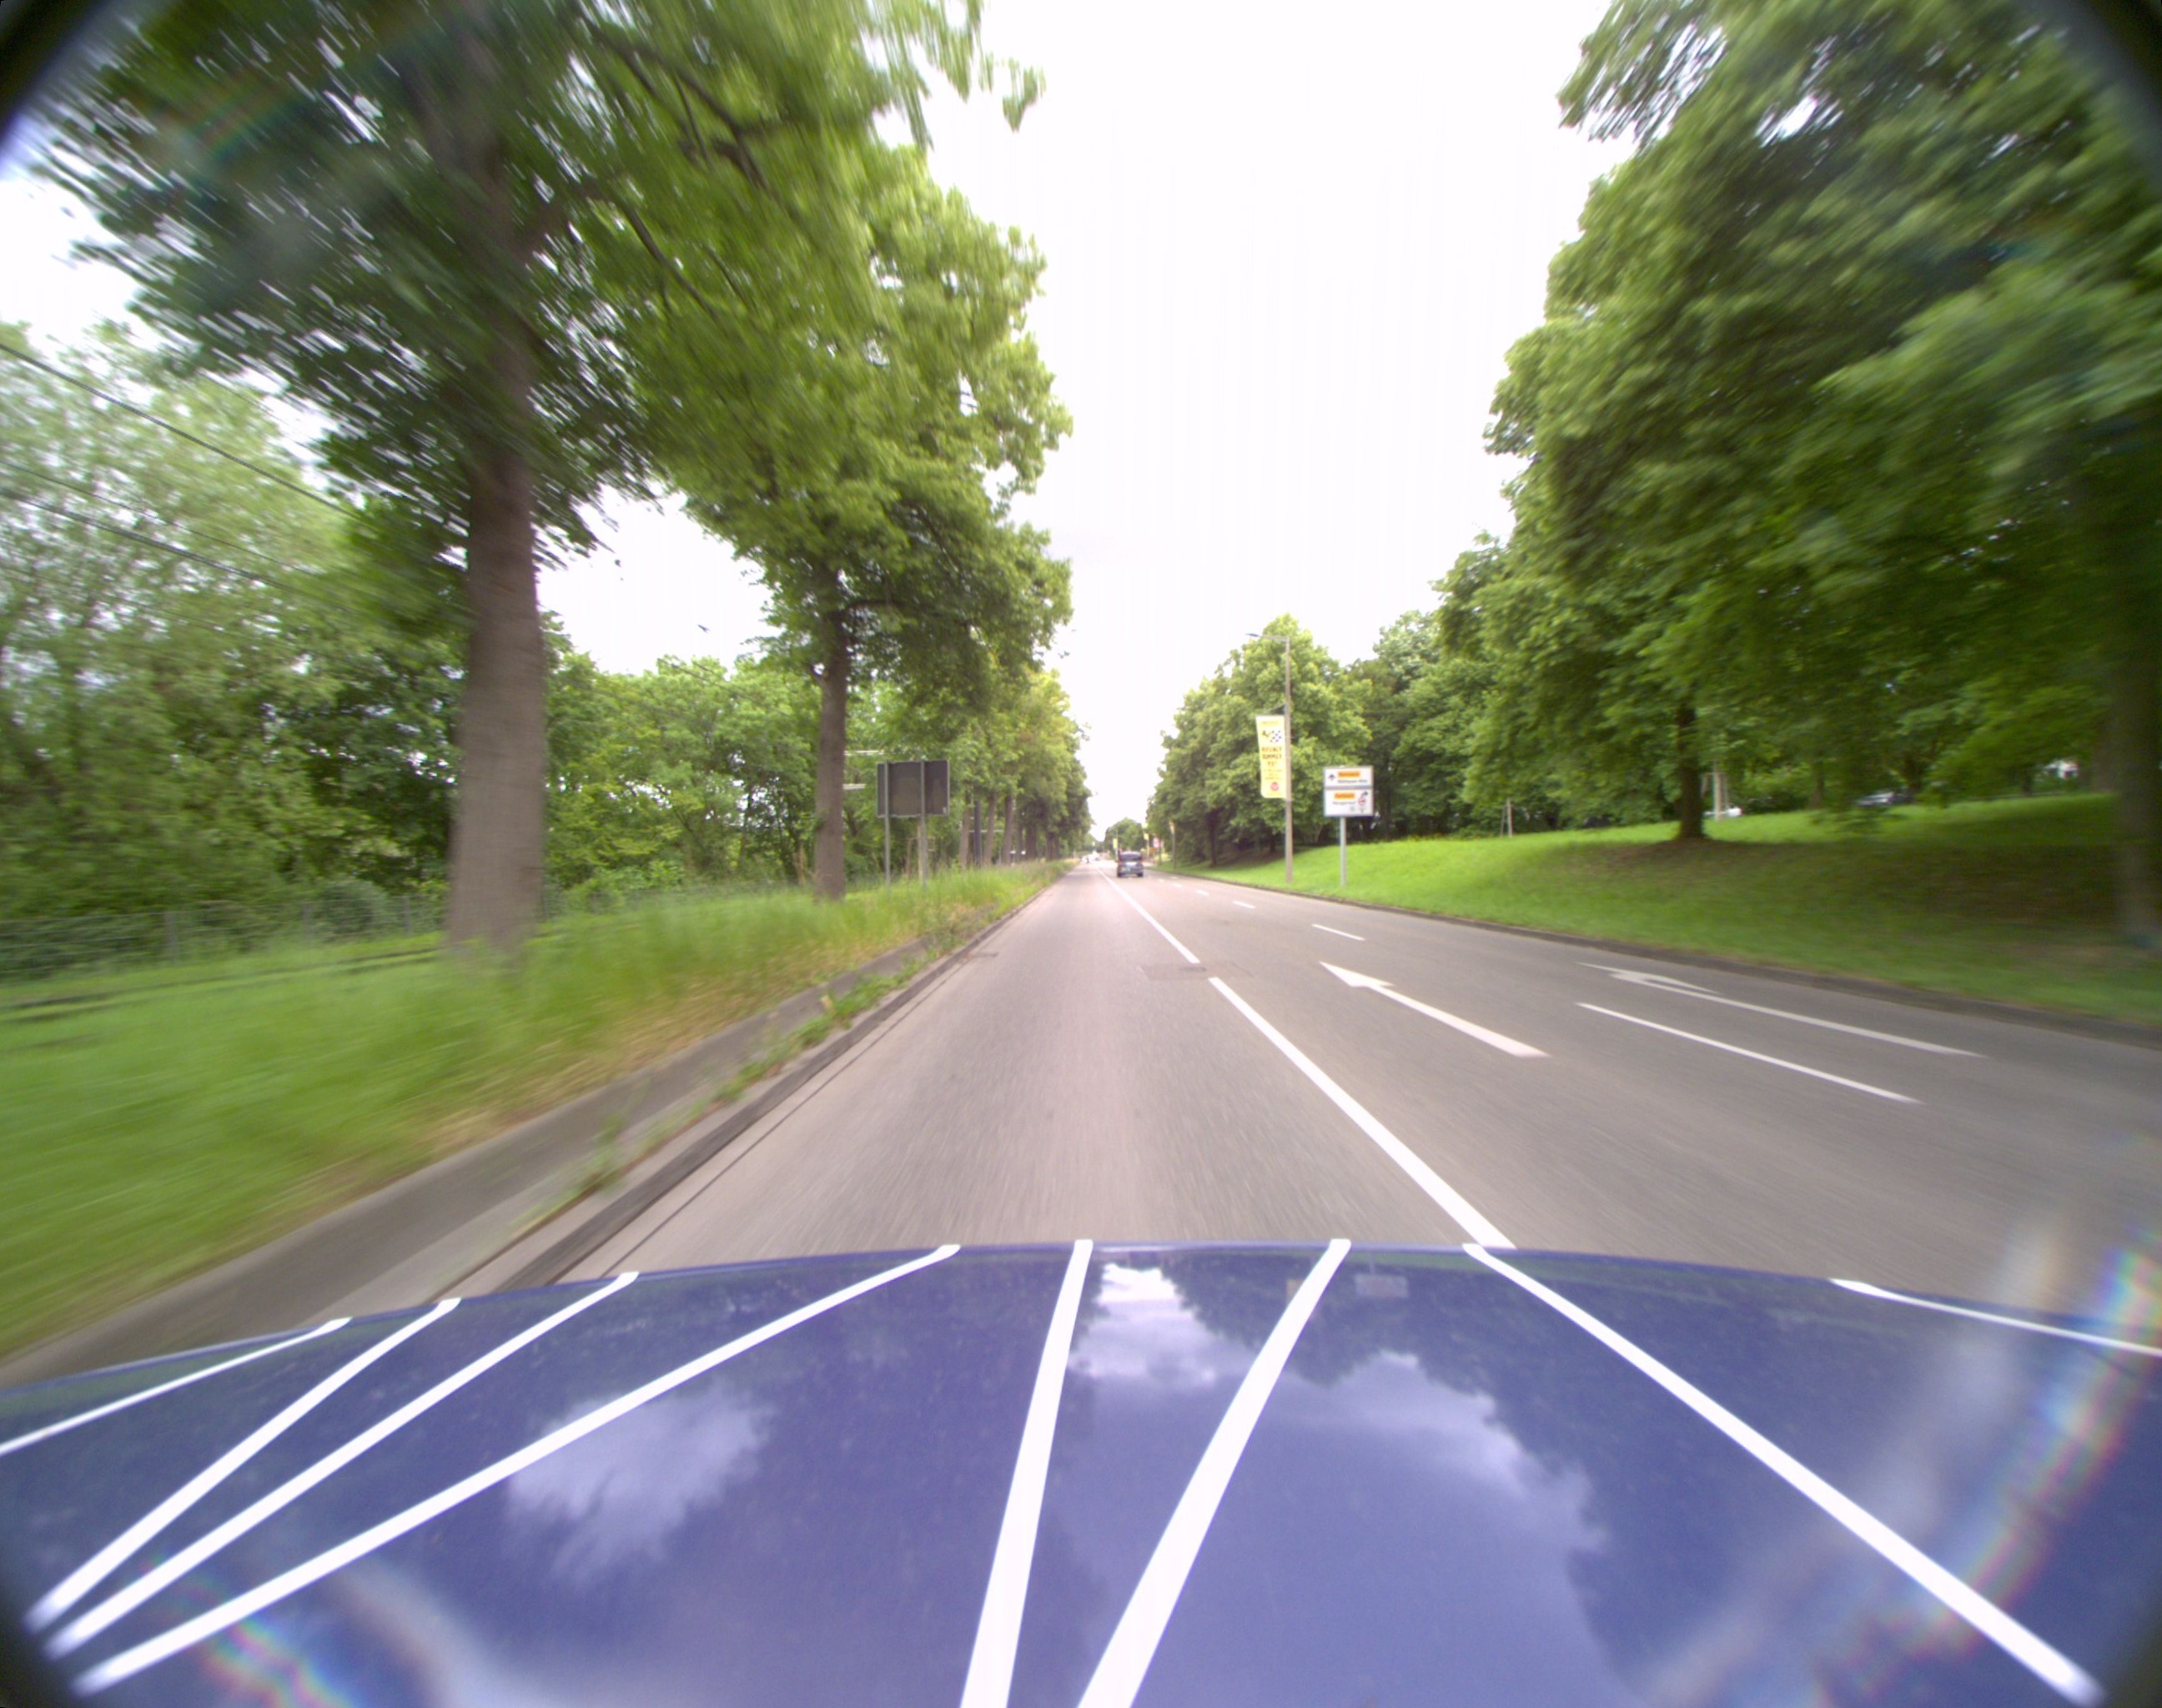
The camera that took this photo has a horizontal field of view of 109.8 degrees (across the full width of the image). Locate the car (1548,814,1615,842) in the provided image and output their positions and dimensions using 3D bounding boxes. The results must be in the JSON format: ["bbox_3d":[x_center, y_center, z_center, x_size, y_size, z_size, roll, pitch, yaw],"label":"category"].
[{"bbox_3d":[37.848,-1.976,57.416,4.911,1.884,1.996,-3,1,-27],"label":"car"}]

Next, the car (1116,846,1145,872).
[{"bbox_3d":[3.847,0.337,59.308,1.998,1.944,5.183,-1,0,1],"label":"car"}]

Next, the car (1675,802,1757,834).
[{"bbox_3d":[41.765,-2.390,49.981,4.911,1.884,2.316,-3,0,-27],"label":"car"}]
